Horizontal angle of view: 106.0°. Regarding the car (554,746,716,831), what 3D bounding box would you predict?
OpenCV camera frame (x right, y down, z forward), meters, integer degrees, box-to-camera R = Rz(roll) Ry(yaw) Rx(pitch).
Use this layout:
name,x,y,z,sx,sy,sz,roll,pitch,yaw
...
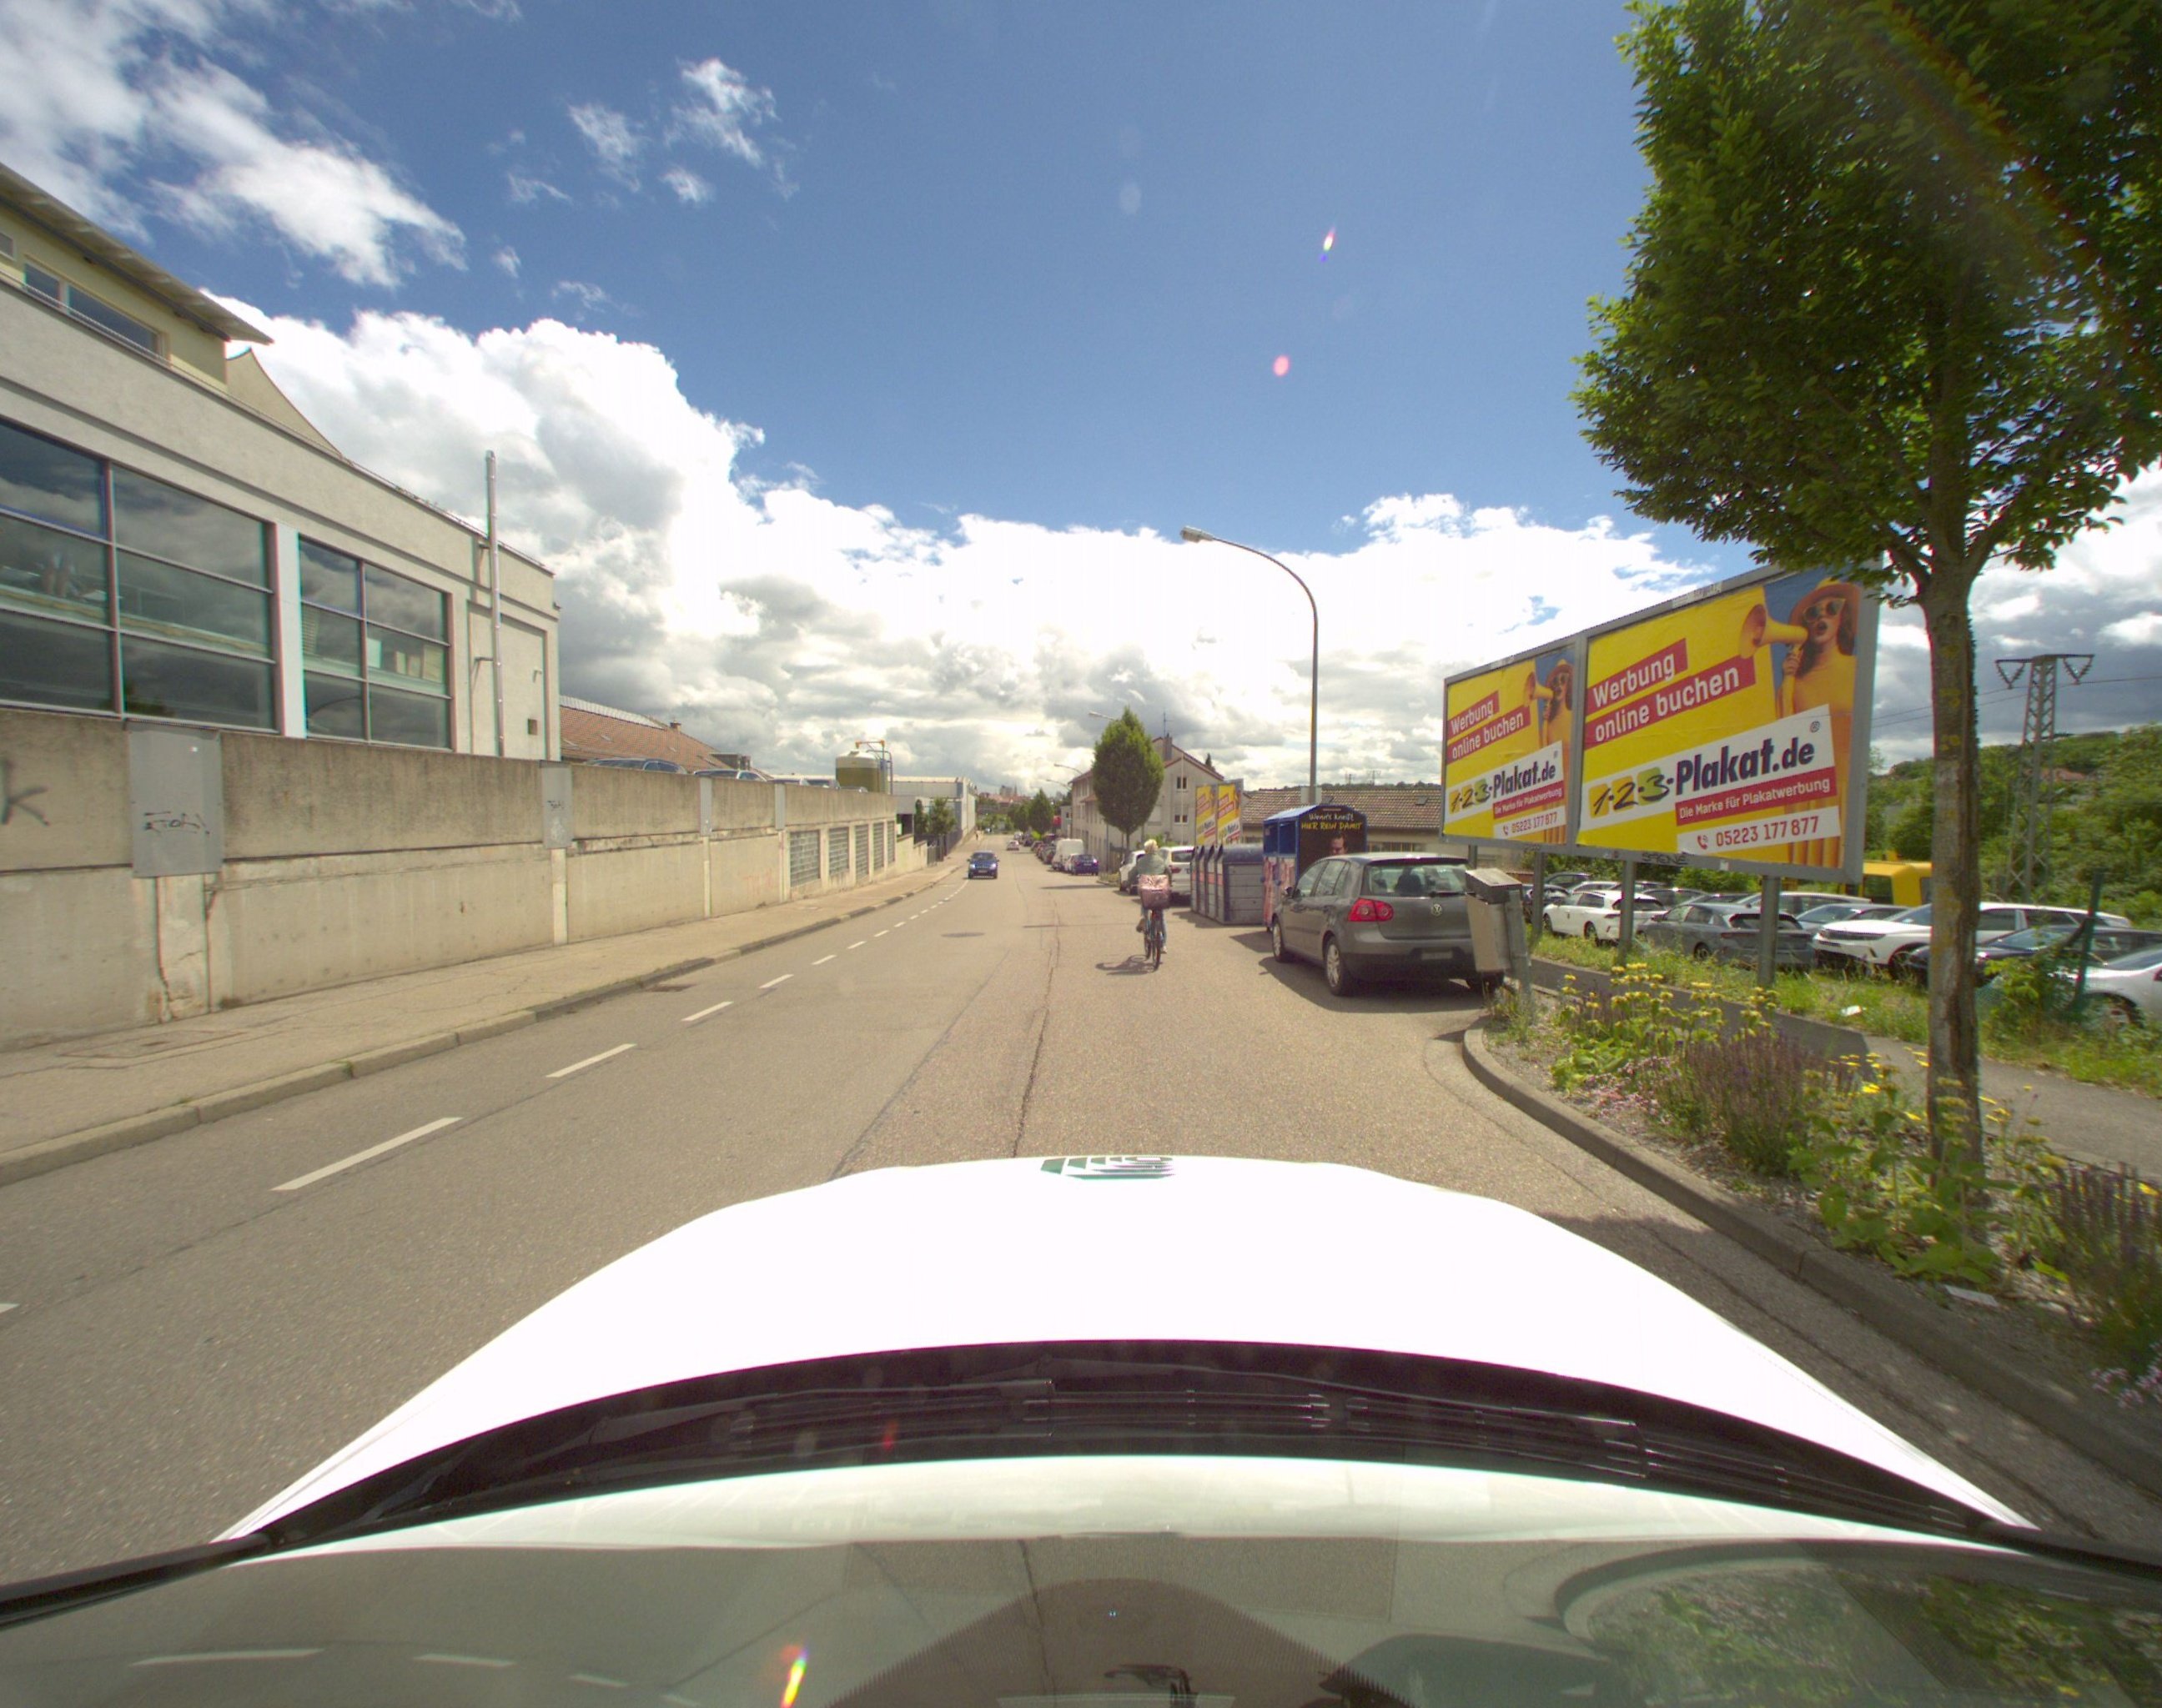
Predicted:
name,x,y,z,sx,sy,sz,roll,pitch,yaw
car,-10.217,-1.410,19.048,1.803,1.636,4.097,0,0,-5

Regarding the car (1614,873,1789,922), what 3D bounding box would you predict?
name,x,y,z,sx,sy,sz,roll,pitch,yaw
car,19.329,1.362,25.558,4.000,1.390,1.751,-2,0,15

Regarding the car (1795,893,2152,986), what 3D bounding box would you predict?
name,x,y,z,sx,sy,sz,roll,pitch,yaw
car,17.312,1.602,16.083,4.416,1.554,2.007,0,0,12

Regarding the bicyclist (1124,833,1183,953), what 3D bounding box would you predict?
name,x,y,z,sx,sy,sz,roll,pitch,yaw
bicyclist,1.010,0.534,11.496,0.738,1.626,0.731,0,0,-3

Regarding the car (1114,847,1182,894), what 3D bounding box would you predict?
name,x,y,z,sx,sy,sz,roll,pitch,yaw
car,2.424,0.589,30.451,1.838,1.565,4.459,-2,0,-4

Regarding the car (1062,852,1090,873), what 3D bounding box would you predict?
name,x,y,z,sx,sy,sz,roll,pitch,yaw
car,-0.406,0.650,61.622,1.591,1.510,3.780,0,0,-8

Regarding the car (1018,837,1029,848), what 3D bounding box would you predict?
name,x,y,z,sx,sy,sz,roll,pitch,yaw
car,-11.159,-2.223,158.747,1.867,1.990,5.132,0,1,-7

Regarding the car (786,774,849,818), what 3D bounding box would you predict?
name,x,y,z,sx,sy,sz,roll,pitch,yaw
car,-11.733,-2.552,36.544,1.803,1.636,4.097,0,0,-5

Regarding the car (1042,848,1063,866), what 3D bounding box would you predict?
name,x,y,z,sx,sy,sz,roll,pitch,yaw
car,-2.966,0.261,83.903,1.703,1.509,5.075,2,2,-7

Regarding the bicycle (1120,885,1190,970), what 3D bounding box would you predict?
name,x,y,z,sx,sy,sz,roll,pitch,yaw
bicycle,1.003,0.990,11.475,0.738,0.975,1.731,0,2,-3

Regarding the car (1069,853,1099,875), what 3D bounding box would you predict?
name,x,y,z,sx,sy,sz,roll,pitch,yaw
car,0.176,0.682,56.741,1.565,1.510,4.084,0,0,-7

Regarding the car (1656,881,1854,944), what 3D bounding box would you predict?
name,x,y,z,sx,sy,sz,roll,pitch,yaw
car,19.047,1.619,23.206,3.957,1.612,1.804,0,0,15

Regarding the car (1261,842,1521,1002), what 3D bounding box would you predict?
name,x,y,z,sx,sy,sz,roll,pitch,yaw
car,3.418,0.656,9.829,1.649,1.485,4.045,-2,0,1

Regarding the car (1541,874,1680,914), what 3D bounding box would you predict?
name,x,y,z,sx,sy,sz,roll,pitch,yaw
car,20.129,1.516,31.171,4.138,1.390,1.800,-2,0,21

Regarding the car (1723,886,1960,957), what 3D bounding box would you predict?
name,x,y,z,sx,sy,sz,roll,pitch,yaw
car,18.913,1.639,20.471,3.957,1.559,1.830,0,0,15

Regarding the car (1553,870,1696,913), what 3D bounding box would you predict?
name,x,y,z,sx,sy,sz,roll,pitch,yaw
car,19.128,1.334,28.852,3.954,1.390,1.605,-2,0,22

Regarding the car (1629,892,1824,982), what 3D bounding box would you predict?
name,x,y,z,sx,sy,sz,roll,pitch,yaw
car,13.709,1.674,17.632,1.682,1.446,4.168,1,0,13

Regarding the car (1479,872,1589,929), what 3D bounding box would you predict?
name,x,y,z,sx,sy,sz,roll,pitch,yaw
car,14.992,1.480,27.236,1.801,1.622,4.475,-2,0,10

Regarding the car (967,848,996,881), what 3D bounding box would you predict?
name,x,y,z,sx,sy,sz,roll,pitch,yaw
car,-5.929,0.599,48.412,1.626,1.817,3.769,-1,0,-8

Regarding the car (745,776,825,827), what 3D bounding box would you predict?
name,x,y,z,sx,sy,sz,roll,pitch,yaw
car,-11.068,-1.933,30.768,1.803,1.636,4.097,0,0,-5

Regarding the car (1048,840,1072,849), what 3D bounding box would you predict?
name,x,y,z,sx,sy,sz,roll,pitch,yaw
car,-3.618,-1.582,138.205,4.024,1.462,1.735,-1,3,45

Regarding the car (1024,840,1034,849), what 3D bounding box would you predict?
name,x,y,z,sx,sy,sz,roll,pitch,yaw
car,-9.207,-1.710,144.068,1.676,1.638,4.116,0,1,-5

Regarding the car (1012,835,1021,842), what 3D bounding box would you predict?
name,x,y,z,sx,sy,sz,roll,pitch,yaw
car,-16.031,-3.805,202.559,1.701,1.527,3.726,3,1,-10

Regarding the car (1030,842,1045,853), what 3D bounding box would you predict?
name,x,y,z,sx,sy,sz,roll,pitch,yaw
car,-6.321,-0.946,117.524,1.790,1.465,4.696,0,1,-8

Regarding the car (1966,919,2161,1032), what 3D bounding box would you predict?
name,x,y,z,sx,sy,sz,roll,pitch,yaw
car,15.545,1.715,11.381,3.986,1.354,1.749,0,0,33

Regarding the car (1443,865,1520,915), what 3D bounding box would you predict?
name,x,y,z,sx,sy,sz,roll,pitch,yaw
car,15.884,1.369,32.534,1.737,1.685,4.696,-2,0,13

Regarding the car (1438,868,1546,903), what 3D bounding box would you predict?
name,x,y,z,sx,sy,sz,roll,pitch,yaw
car,17.780,1.368,35.282,3.991,1.390,1.534,-2,0,33

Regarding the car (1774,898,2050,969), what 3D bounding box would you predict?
name,x,y,z,sx,sy,sz,roll,pitch,yaw
car,18.226,1.701,18.094,3.957,1.330,1.763,0,0,15

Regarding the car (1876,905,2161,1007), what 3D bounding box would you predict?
name,x,y,z,sx,sy,sz,roll,pitch,yaw
car,16.370,1.652,13.673,3.954,1.442,1.746,0,0,19

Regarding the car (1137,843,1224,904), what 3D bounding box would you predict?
name,x,y,z,sx,sy,sz,roll,pitch,yaw
car,2.871,0.531,24.494,1.683,1.659,4.471,-1,0,-5

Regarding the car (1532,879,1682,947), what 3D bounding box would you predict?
name,x,y,z,sx,sy,sz,roll,pitch,yaw
car,14.350,1.538,22.558,1.741,1.517,4.593,-2,0,8

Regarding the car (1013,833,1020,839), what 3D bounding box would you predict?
name,x,y,z,sx,sy,sz,roll,pitch,yaw
car,-16.928,-4.785,213.244,1.698,1.527,3.732,0,1,-5

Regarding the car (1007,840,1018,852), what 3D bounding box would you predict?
name,x,y,z,sx,sy,sz,roll,pitch,yaw
car,-10.103,-1.168,120.151,1.565,1.786,3.597,0,0,-7

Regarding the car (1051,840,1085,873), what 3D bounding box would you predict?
name,x,y,z,sx,sy,sz,roll,pitch,yaw
car,-1.185,0.200,67.726,2.032,2.641,7.263,0,0,-8
